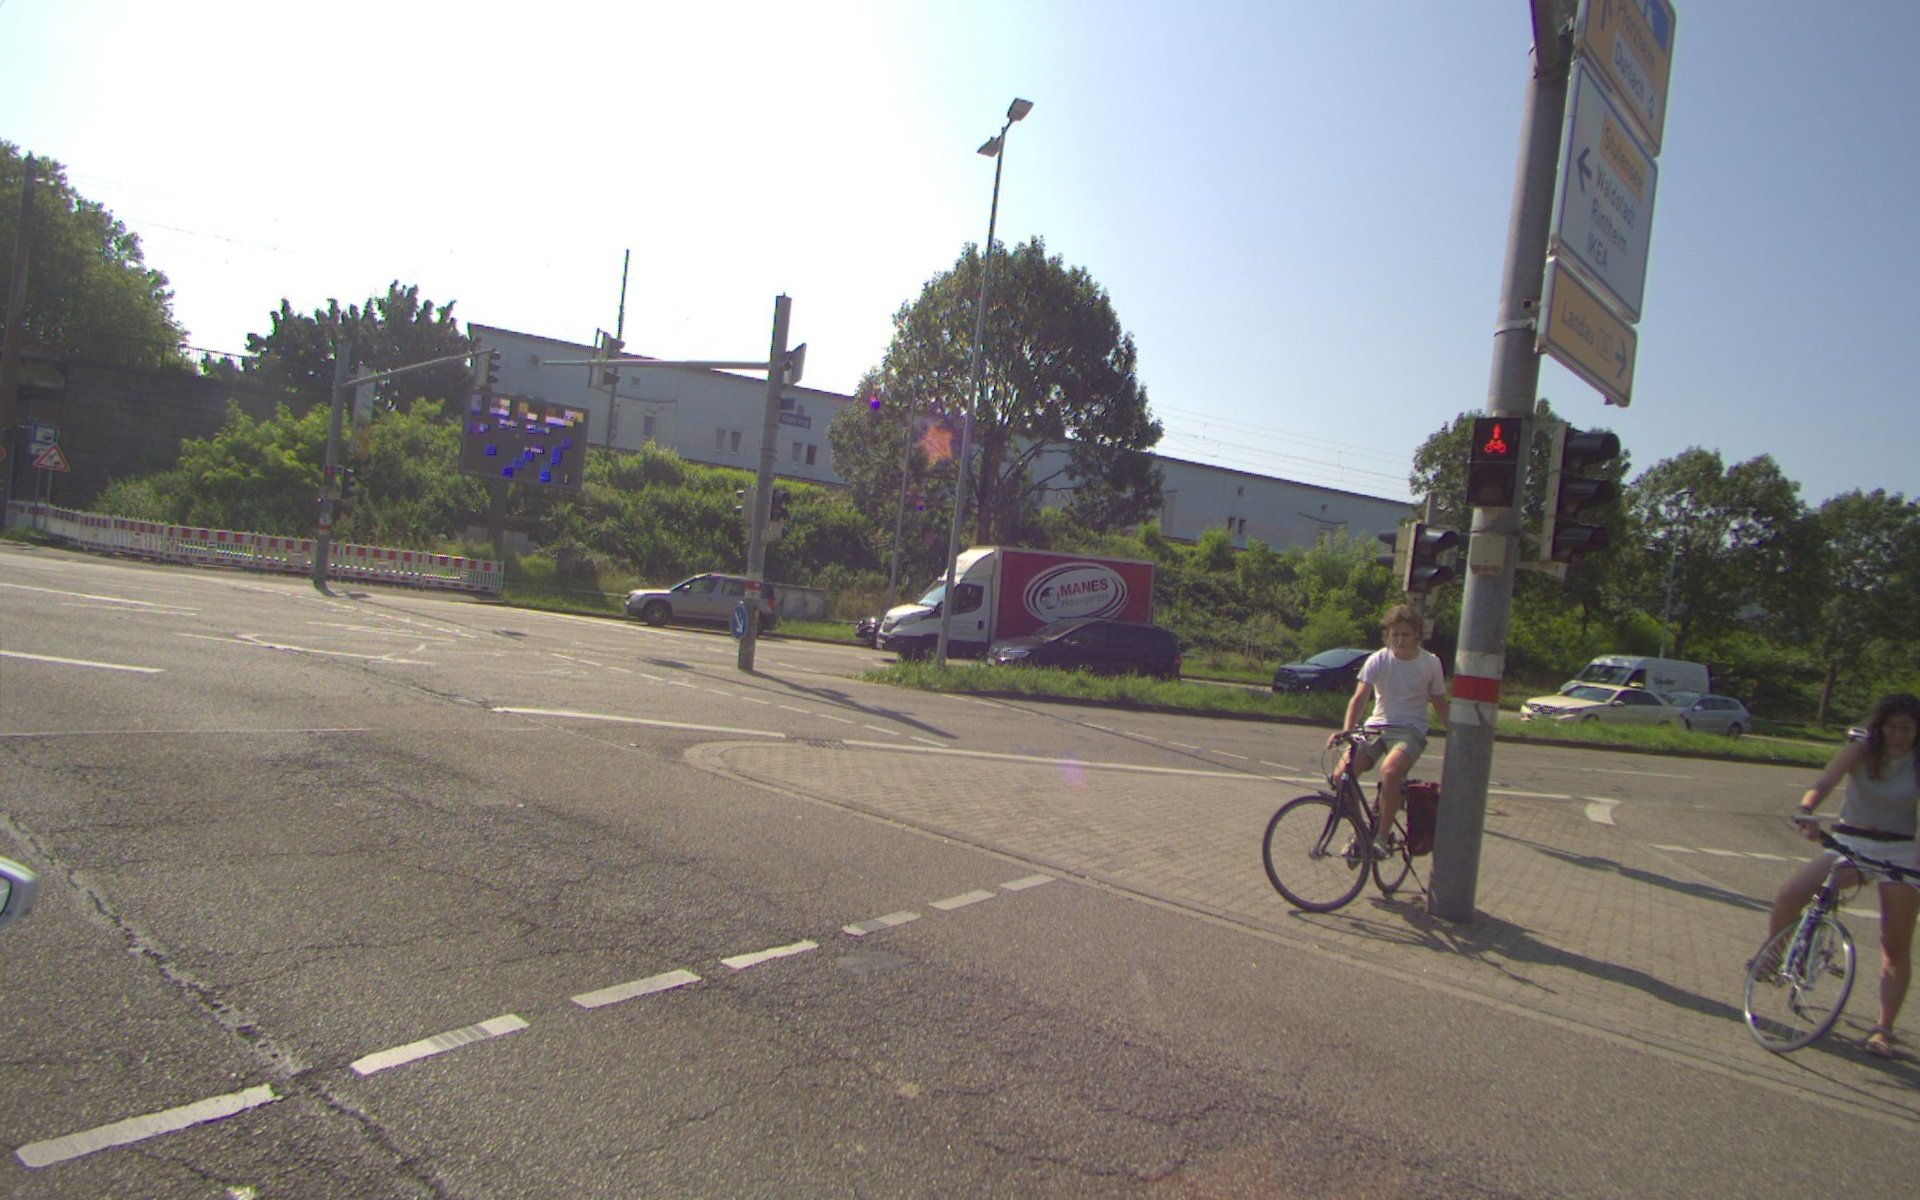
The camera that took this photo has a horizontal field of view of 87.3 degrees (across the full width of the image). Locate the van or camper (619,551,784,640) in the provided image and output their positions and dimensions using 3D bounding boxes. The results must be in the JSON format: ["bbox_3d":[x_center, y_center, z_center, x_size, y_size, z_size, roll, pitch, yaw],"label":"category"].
[{"bbox_3d":[-7.177,-0.095,27.908,4.117,1.796,1.845,9,-2,-19],"label":"van or camper"}]

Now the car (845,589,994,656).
[{"bbox_3d":[-1.231,0.682,30.190,3.945,1.570,1.991,7,-1,-22],"label":"car"}]

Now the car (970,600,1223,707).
[{"bbox_3d":[3.026,1.193,22.382,5.122,1.631,1.900,9,-2,-18],"label":"car"}]

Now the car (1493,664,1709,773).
[{"bbox_3d":[18.128,3.340,28.503,5.149,2.287,2.242,9,-2,-18],"label":"car"}]

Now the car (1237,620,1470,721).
[{"bbox_3d":[9.834,1.757,25.195,5.149,1.760,2.139,9,-2,-18],"label":"car"}]

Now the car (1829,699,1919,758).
[{"bbox_3d":[34.256,4.779,36.935,3.698,1.683,1.652,9,-2,-15],"label":"car"}]

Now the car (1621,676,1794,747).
[{"bbox_3d":[25.143,3.736,33.858,4.904,1.627,2.159,9,-2,-18],"label":"car"}]

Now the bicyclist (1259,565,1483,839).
[{"bbox_3d":[2.675,0.668,6.522,1.193,1.612,0.593,9,-2,-32],"label":"bicyclist"}]

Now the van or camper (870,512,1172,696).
[{"bbox_3d":[1.506,0.195,24.844,6.753,3.400,2.242,9,-2,-18],"label":"van or camper"}]

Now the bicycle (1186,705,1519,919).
[{"bbox_3d":[2.594,1.345,6.544,2.197,1.101,0.766,7,0,-32],"label":"bicycle"}]

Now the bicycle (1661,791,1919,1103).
[{"bbox_3d":[4.437,1.592,5.044,2.244,1.100,0.765,8,0,-37],"label":"bicycle"}]

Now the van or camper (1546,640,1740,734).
[{"bbox_3d":[25.241,3.218,37.174,6.772,2.511,2.240,9,-2,-20],"label":"van or camper"}]

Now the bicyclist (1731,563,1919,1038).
[{"bbox_3d":[4.436,0.928,4.909,1.195,2.037,0.592,8,-1,-36],"label":"bicyclist"}]

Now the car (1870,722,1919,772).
[{"bbox_3d":[31.723,4.931,32.547,3.700,1.414,1.652,8,-3,-17],"label":"car"}]
